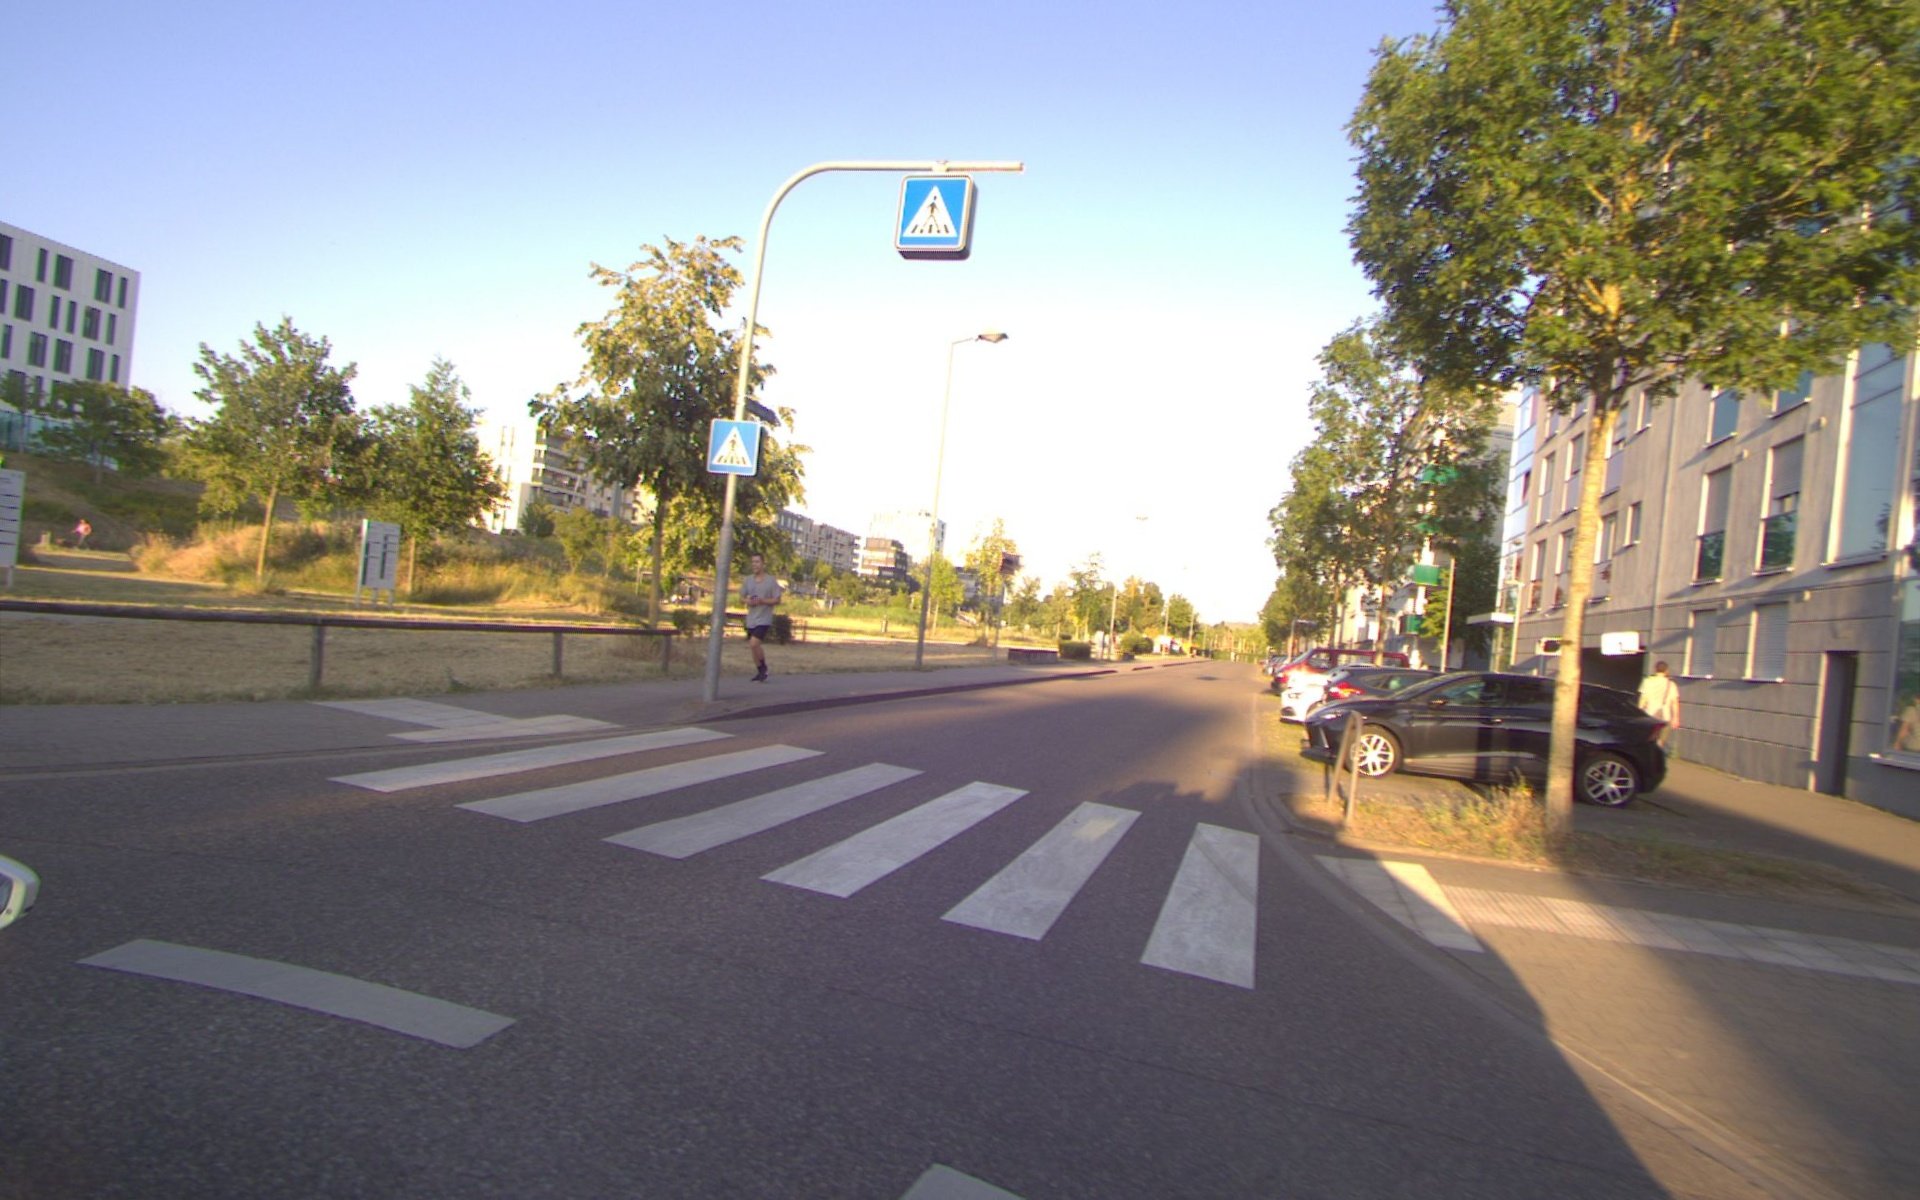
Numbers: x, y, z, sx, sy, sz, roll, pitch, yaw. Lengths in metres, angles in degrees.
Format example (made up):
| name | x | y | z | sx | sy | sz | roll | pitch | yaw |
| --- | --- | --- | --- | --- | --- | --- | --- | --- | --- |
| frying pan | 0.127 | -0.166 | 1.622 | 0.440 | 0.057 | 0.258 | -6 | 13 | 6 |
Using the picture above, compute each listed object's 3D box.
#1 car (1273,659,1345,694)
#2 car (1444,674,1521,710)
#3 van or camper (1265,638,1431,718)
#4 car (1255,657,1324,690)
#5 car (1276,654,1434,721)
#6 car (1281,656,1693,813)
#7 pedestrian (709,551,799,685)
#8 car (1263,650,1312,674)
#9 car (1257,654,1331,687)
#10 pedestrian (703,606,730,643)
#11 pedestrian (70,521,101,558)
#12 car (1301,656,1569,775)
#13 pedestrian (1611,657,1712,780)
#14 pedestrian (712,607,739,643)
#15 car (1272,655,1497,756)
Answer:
| name | x | y | z | sx | sy | sz | roll | pitch | yaw |
| --- | --- | --- | --- | --- | --- | --- | --- | --- | --- |
| car | 21.407 | 4.680 | 61.848 | 3.880 | 1.612 | 1.780 | 7 | -1 | 13 |
| car | 27.983 | 4.910 | 53.974 | 1.589 | 1.485 | 3.516 | 7 | -1 | -16 |
| van or camper | 13.425 | 2.681 | 35.144 | 5.034 | 2.085 | 1.879 | 7 | -1 | 14 |
| car | 21.047 | 4.695 | 64.315 | 3.880 | 1.612 | 1.780 | 7 | -1 | 13 |
| car | 12.571 | 2.768 | 32.290 | 4.382 | 1.539 | 1.702 | 6 | -1 | 15 |
| car | 6.616 | 1.646 | 13.189 | 4.396 | 1.505 | 1.834 | 4 | -1 | 15 |
| pedestrian | -2.860 | 0.261 | 14.019 | 0.753 | 1.751 | 0.802 | 6 | 0 | 21 |
| car | 32.817 | 6.243 | 100.930 | 4.328 | 1.861 | 1.953 | 7 | -1 | 12 |
| car | 22.196 | 4.675 | 67.028 | 4.328 | 1.612 | 1.953 | 7 | -1 | 13 |
| pedestrian | -7.090 | 0.720 | 29.280 | 0.490 | 1.017 | 0.482 | 6 | 0 | 11 |
| pedestrian | -46.518 | -3.221 | 53.531 | 0.818 | 1.788 | 0.818 | 6 | 0 | 19 |
| car | 8.393 | 2.007 | 18.145 | 3.979 | 1.497 | 1.702 | 6 | -1 | 15 |
| pedestrian | 12.005 | 1.998 | 17.261 | 0.961 | 1.917 | 1.050 | 6 | 0 | 16 |
| pedestrian | -6.972 | 0.750 | 29.974 | 0.490 | 1.017 | 0.571 | 6 | 0 | 11 |
| car | 8.682 | 2.126 | 20.932 | 3.979 | 1.497 | 1.702 | 6 | -1 | 15 |
